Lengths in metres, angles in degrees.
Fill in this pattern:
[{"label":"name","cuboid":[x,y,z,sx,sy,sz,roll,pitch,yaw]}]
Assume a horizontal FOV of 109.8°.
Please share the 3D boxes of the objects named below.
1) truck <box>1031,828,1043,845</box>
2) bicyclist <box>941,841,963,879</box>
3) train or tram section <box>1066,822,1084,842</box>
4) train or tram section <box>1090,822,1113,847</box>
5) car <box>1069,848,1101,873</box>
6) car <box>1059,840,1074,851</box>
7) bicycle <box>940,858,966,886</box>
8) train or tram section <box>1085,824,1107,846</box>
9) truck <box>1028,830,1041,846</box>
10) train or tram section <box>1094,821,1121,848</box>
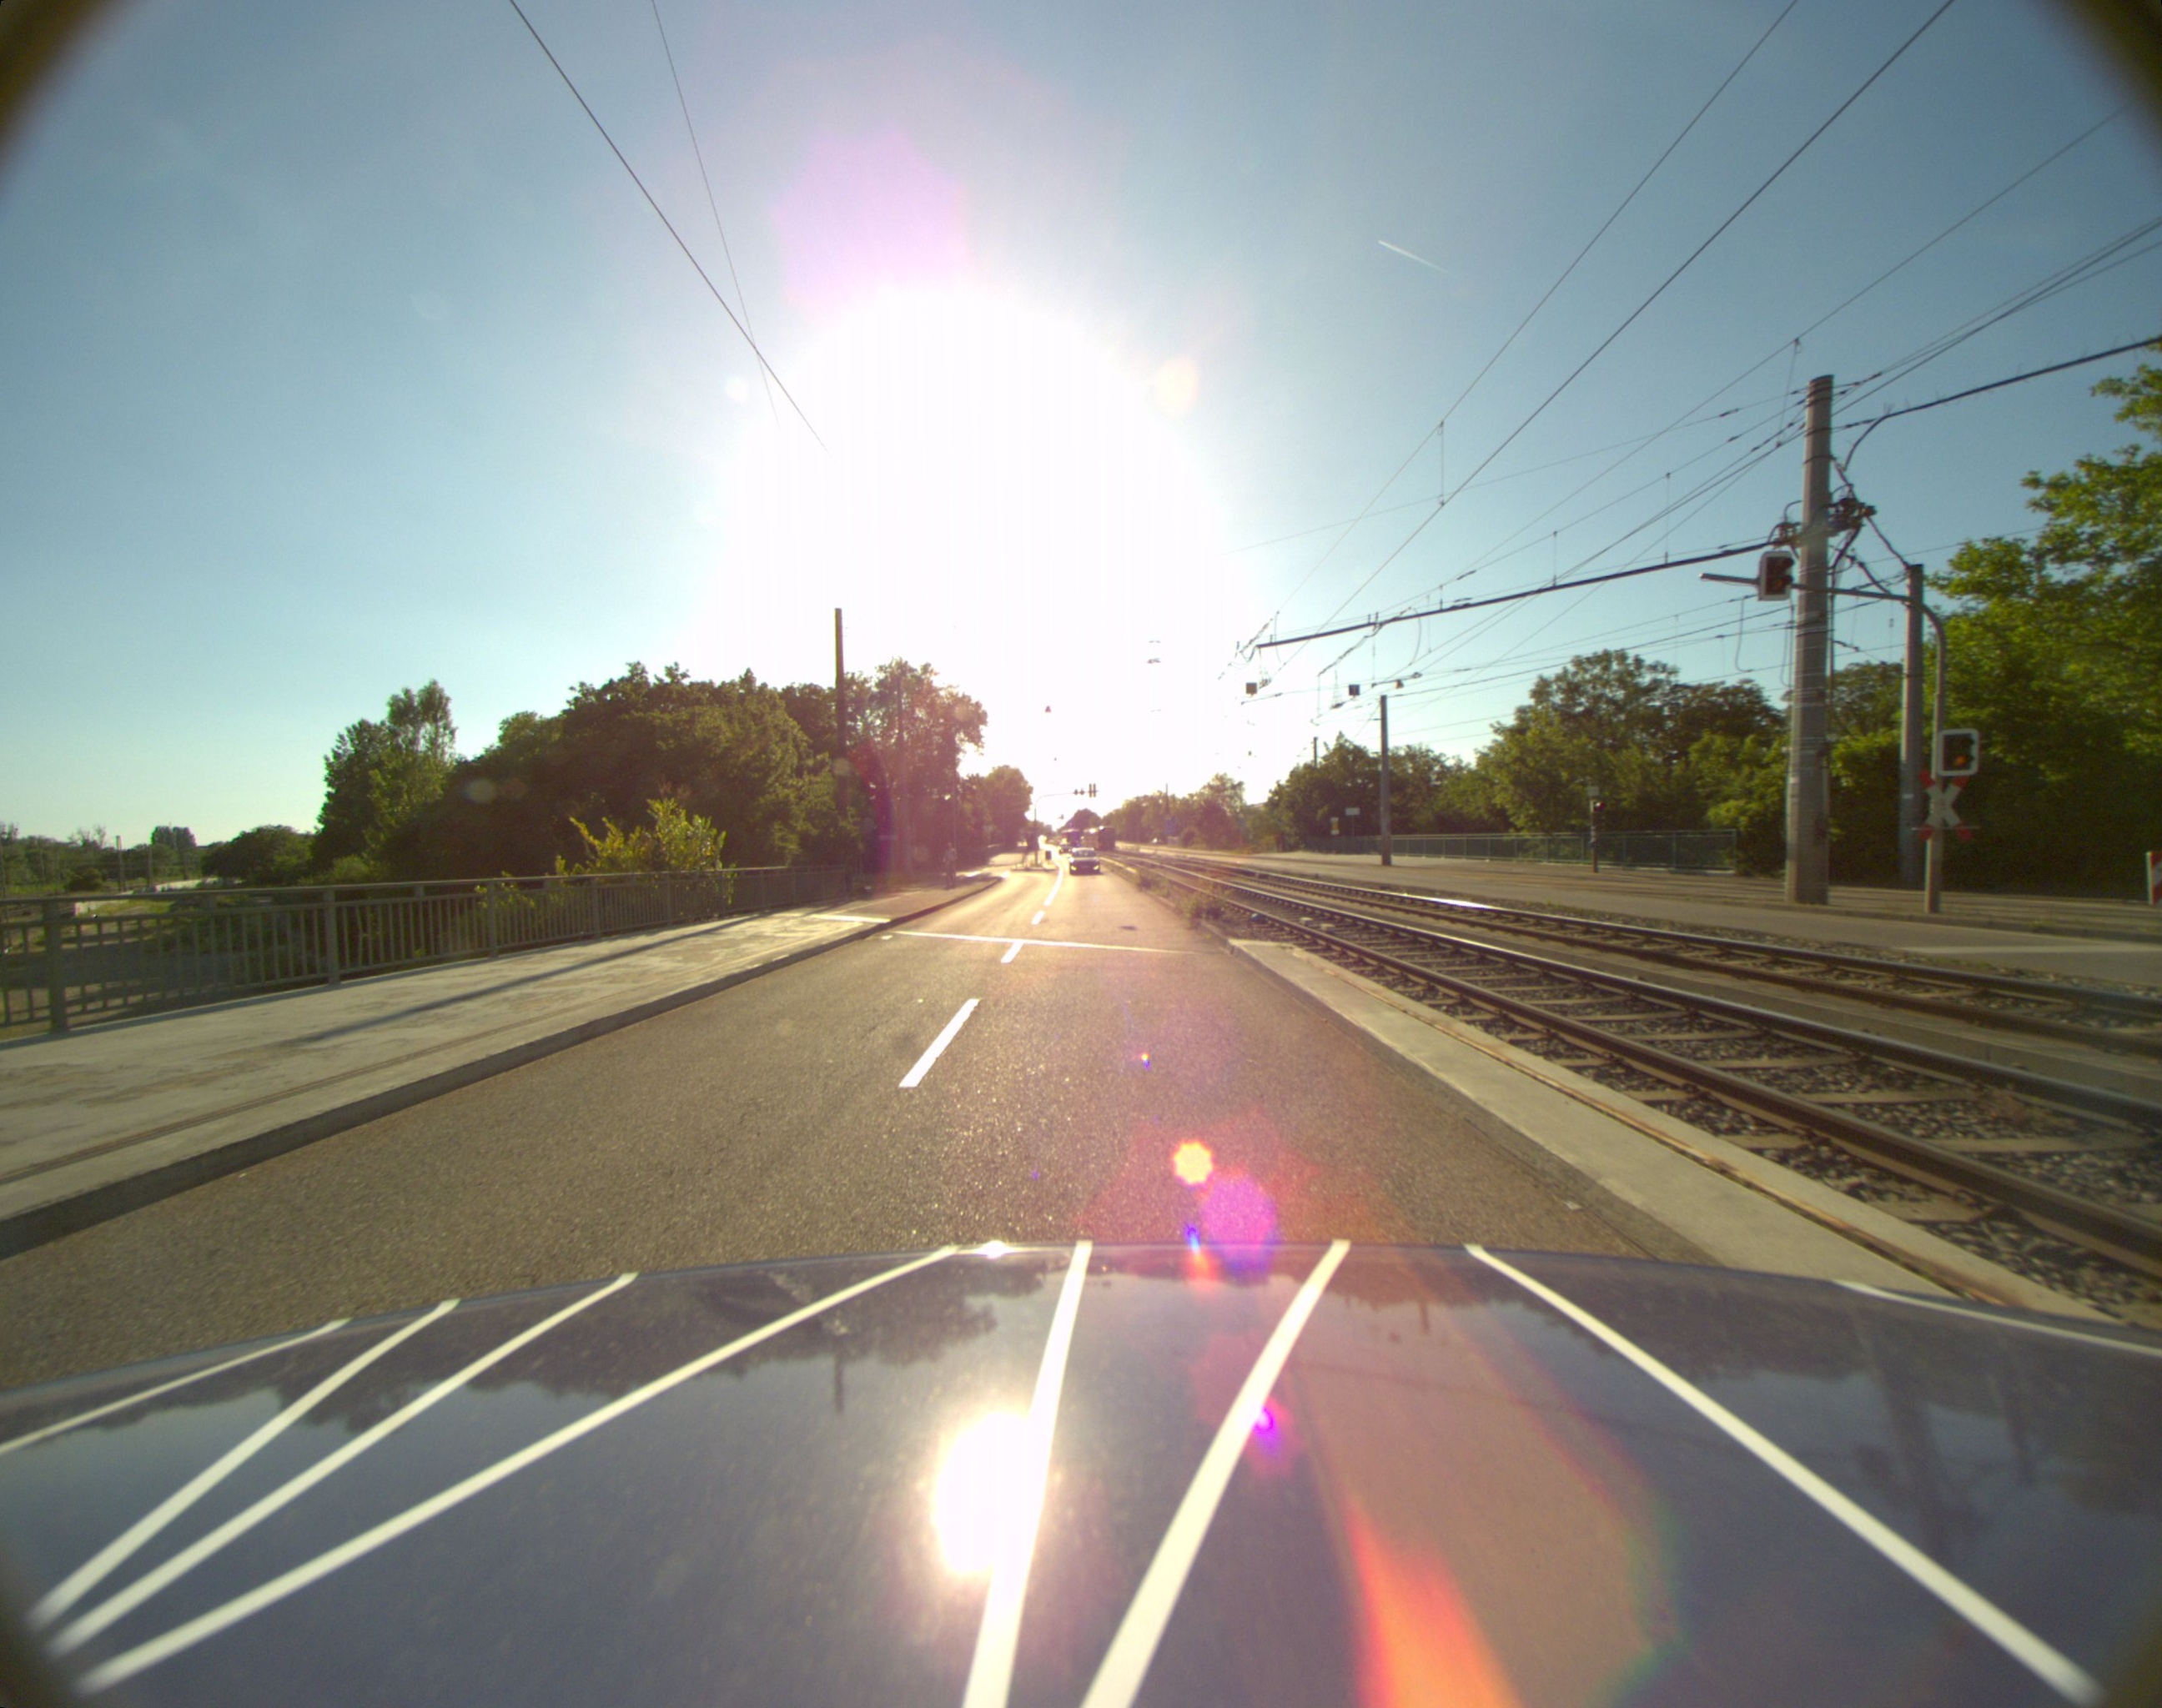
[{"label":"truck","cuboid":[-10.198,-4.079,176.268,2.560,3.827,7.865,-2,2,-3]},{"label":"bicyclist","cuboid":[-5.932,0.271,34.954,0.733,1.680,1.201,-4,2,-2]},{"label":"train or tram section","cuboid":[-1.254,-4.313,150.959,2.570,3.879,11.664,-2,2,-4]},{"label":"train or tram section","cuboid":[3.366,-3.311,129.223,2.984,3.879,11.658,-2,2,-3]},{"label":"car","cuboid":[0.248,0.353,44.813,1.801,1.345,3.999,-1,1,0]},{"label":"car","cuboid":[-1.842,-1.122,97.836,1.801,1.345,3.999,-1,1,0]},{"label":"bicycle","cuboid":[-5.877,0.808,34.946,0.733,1.116,2.741,-4,1,-2]},{"label":"train or tram section","cuboid":[2.728,-3.564,142.498,3.012,3.879,13.073,-2,2,-3]},{"label":"truck","cuboid":[-9.685,-3.303,159.677,2.610,3.186,7.865,-2,2,-3]},{"label":"train or tram section","cuboid":[3.958,-3.031,117.948,2.986,3.879,12.694,-2,2,-3]}]
